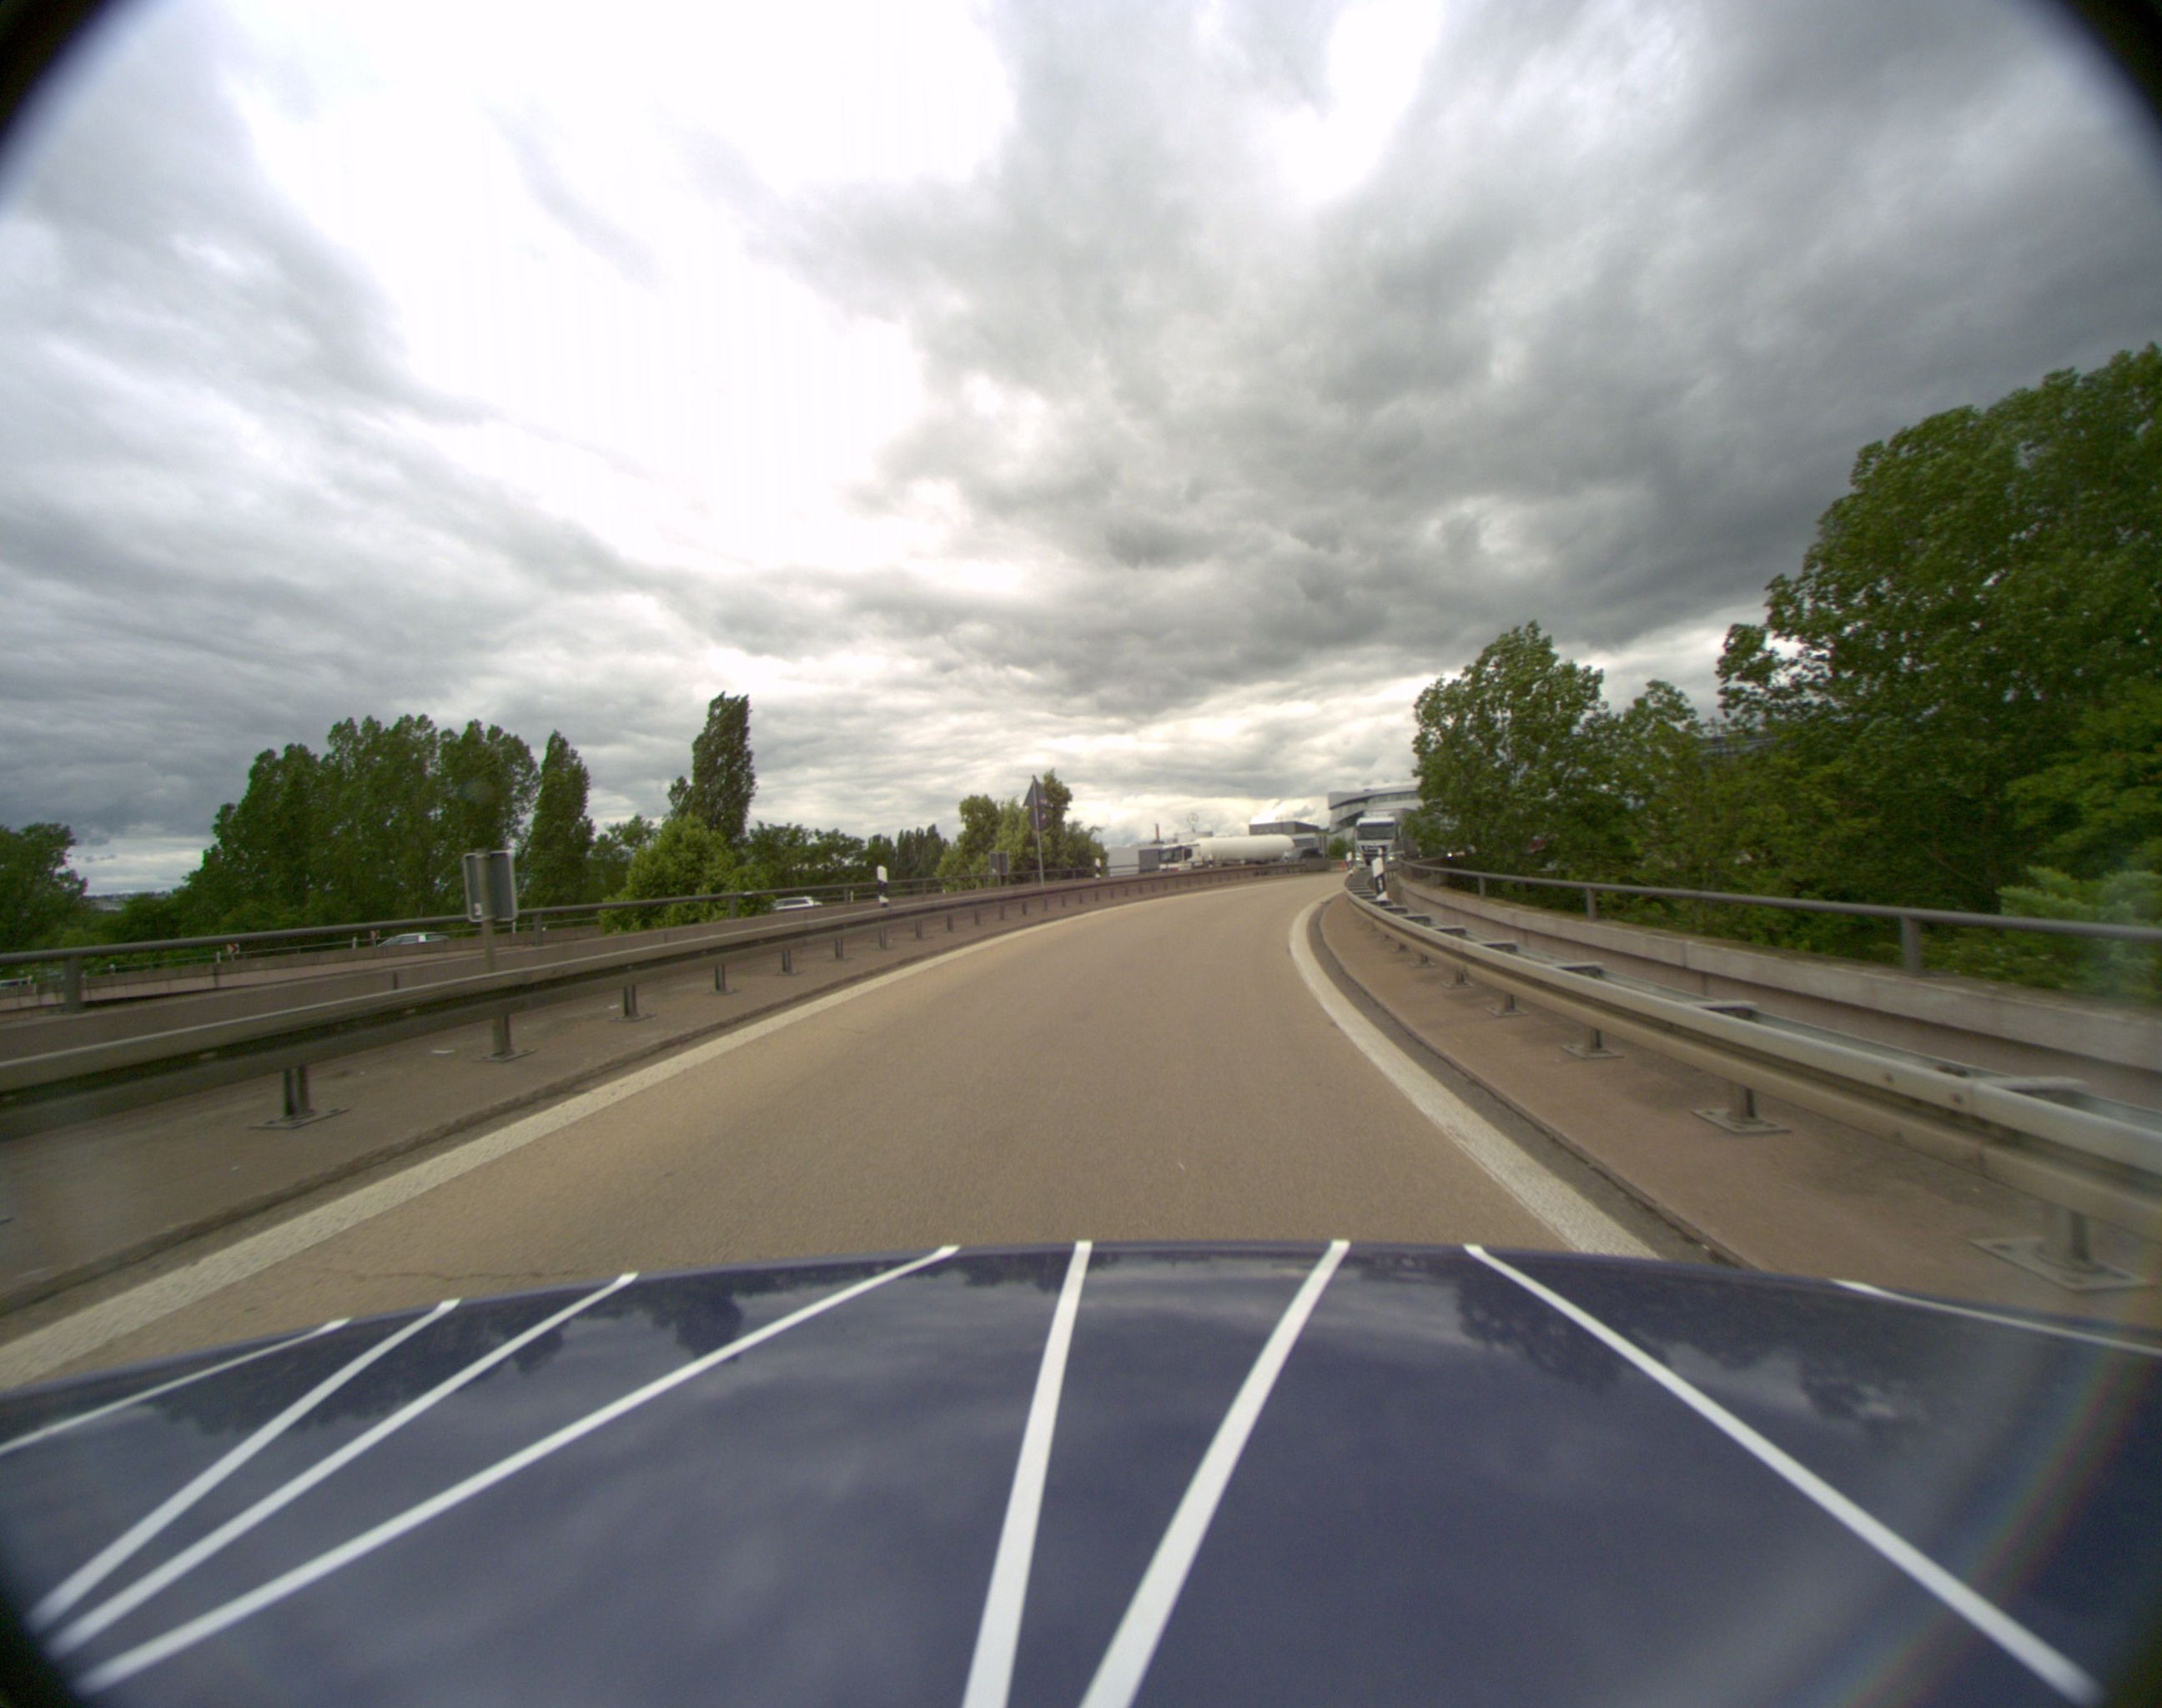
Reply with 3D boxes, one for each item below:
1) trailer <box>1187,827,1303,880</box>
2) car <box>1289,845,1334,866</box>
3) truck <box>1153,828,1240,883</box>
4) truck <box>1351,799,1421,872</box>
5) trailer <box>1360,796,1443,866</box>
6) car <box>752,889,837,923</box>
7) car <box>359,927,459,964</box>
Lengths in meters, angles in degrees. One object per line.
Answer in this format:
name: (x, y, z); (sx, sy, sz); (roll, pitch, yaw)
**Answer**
trailer: (12.823, -0.139, 58.576); (11.025, 3.628, 2.742); (-3, 0, -43)
car: (17.429, 0.091, 57.273); (1.785, 1.401, 3.808); (-3, 0, 41)
truck: (8.361, 0.073, 54.553); (6.212, 3.624, 2.729); (-3, 0, -42)
truck: (19.358, -1.163, 47.969); (2.729, 4.203, 6.212); (-2, 0, 34)
trailer: (22.644, -1.596, 52.990); (2.742, 4.212, 13.472); (-2, 0, 33)
car: (-15.266, 2.770, 40.706); (3.936, 1.400, 1.789); (-5, -3, -14)
car: (-35.400, 4.825, 40.069); (3.995, 1.471, 1.739); (-6, -2, 8)
